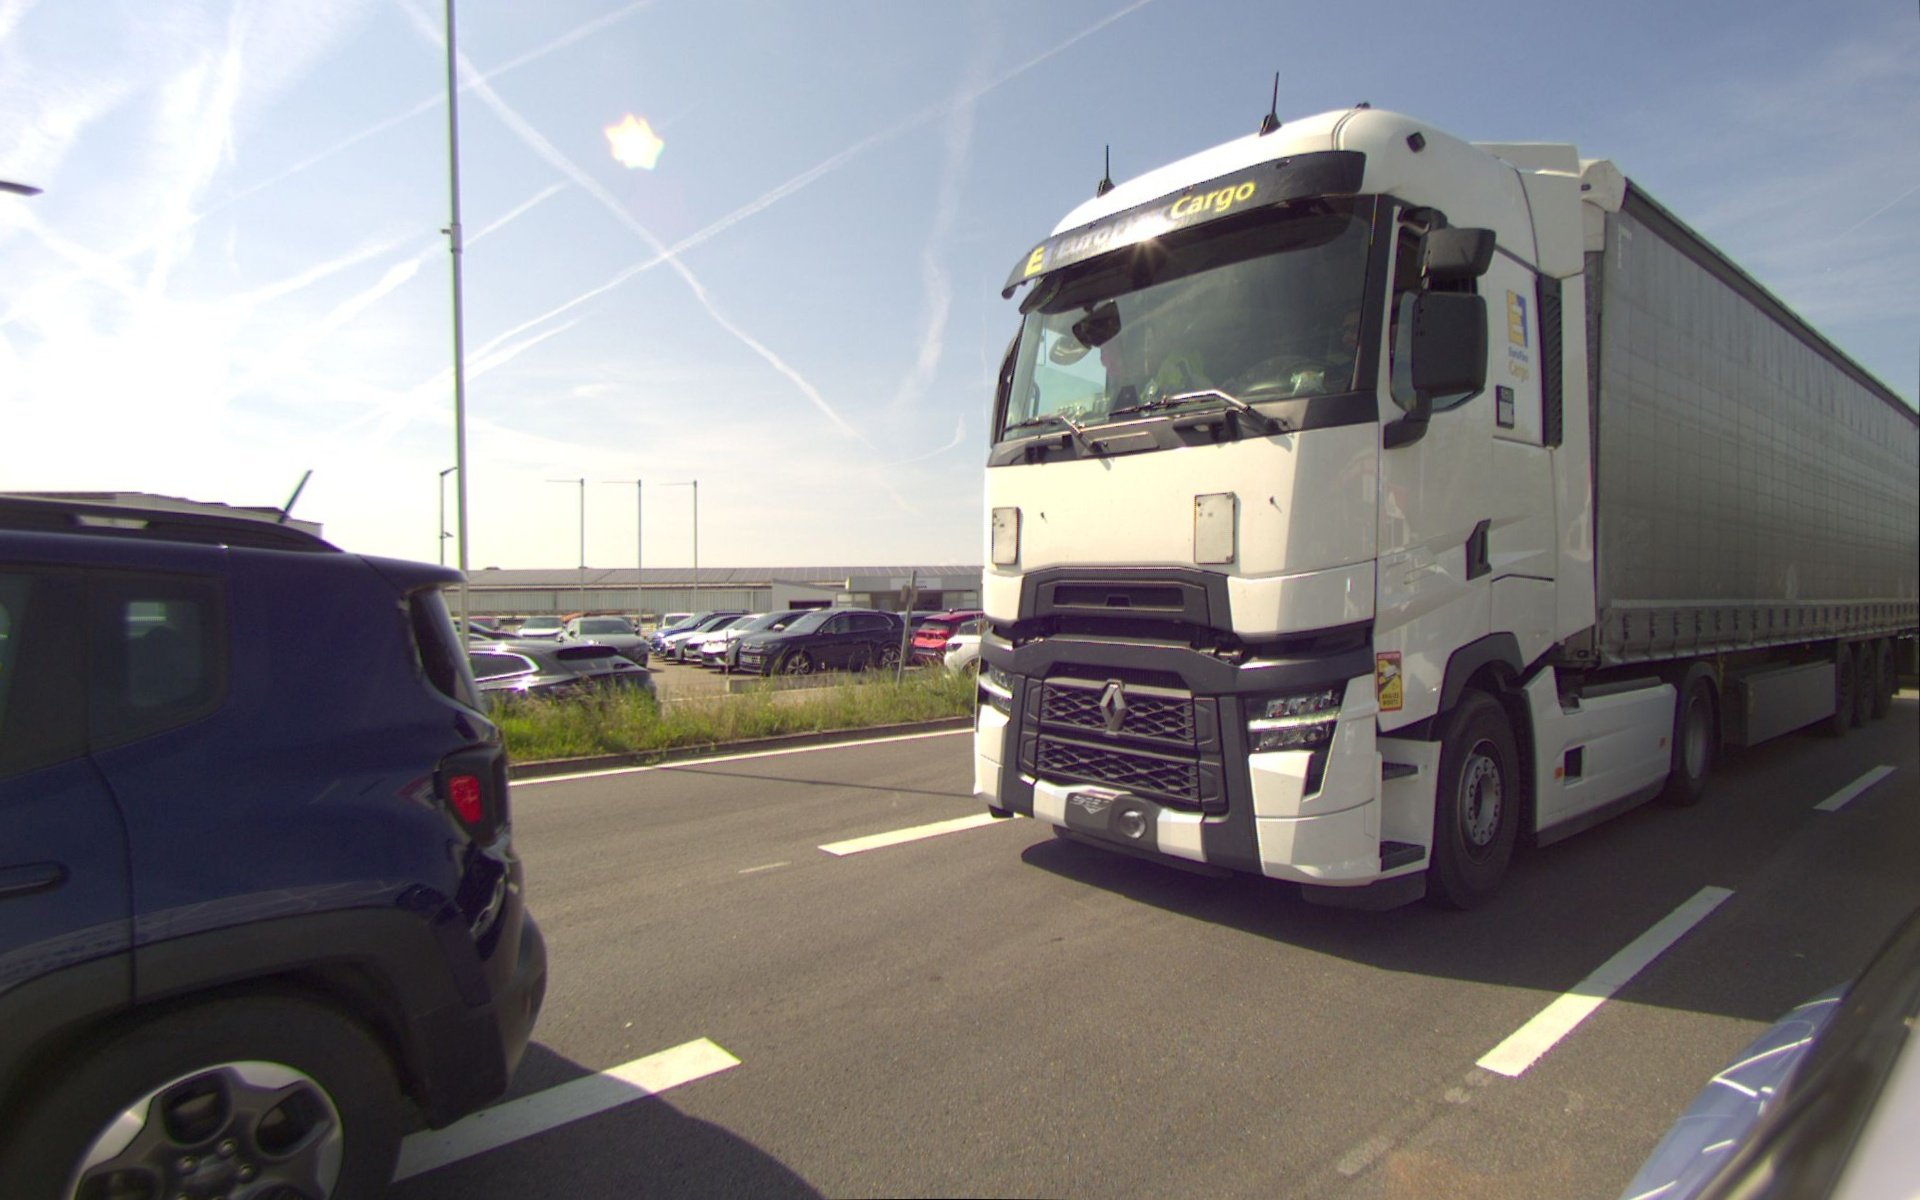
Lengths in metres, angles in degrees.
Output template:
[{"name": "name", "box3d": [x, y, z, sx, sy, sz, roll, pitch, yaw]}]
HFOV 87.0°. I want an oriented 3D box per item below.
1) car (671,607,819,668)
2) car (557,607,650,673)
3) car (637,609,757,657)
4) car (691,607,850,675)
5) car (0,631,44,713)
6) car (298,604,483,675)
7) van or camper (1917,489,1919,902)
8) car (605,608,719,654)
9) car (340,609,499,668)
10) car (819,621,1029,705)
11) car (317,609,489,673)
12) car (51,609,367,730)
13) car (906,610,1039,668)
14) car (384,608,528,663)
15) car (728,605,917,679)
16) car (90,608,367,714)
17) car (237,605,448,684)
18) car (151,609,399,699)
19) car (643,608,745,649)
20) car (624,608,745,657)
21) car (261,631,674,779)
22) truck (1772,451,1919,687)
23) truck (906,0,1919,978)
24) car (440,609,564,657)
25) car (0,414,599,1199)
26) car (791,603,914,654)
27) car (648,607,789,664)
[{"name": "car", "box3d": [-6.221, 1.027, 29.489, 3.896, 1.638, 1.708, 0, 0, -37]}, {"name": "car", "box3d": [-9.849, 1.024, 27.797, 1.959, 1.638, 4.006, 0, 0, -26]}, {"name": "car", "box3d": [-8.721, 1.058, 33.675, 3.531, 1.426, 1.562, -1, 2, -39]}, {"name": "car", "box3d": [-5.011, 1.027, 26.945, 3.756, 1.638, 1.857, 0, 0, -37]}, {"name": "car", "box3d": [-20.717, 1.470, 20.143, 3.657, 1.601, 1.602, 0, -1, -42]}, {"name": "car", "box3d": [-15.512, 1.034, 27.822, 4.143, 1.812, 1.987, 0, -1, -20]}, {"name": "van or camper", "box3d": [7.366, 0.478, 5.875, 5.195, 2.039, 1.998, 0, 0, -39]}, {"name": "car", "box3d": [-11.448, 1.149, 39.008, 3.896, 1.638, 1.708, 0, 0, -37]}, {"name": "car", "box3d": [-17.065, 1.178, 32.192, 4.143, 1.777, 1.911, 0, -1, -15]}, {"name": "car", "box3d": [-0.679, 1.127, 19.171, 3.623, 1.420, 1.725, 0, 0, 23]}, {"name": "car", "box3d": [-16.428, 1.165, 30.099, 4.143, 1.777, 1.911, 0, -1, -15]}, {"name": "car", "box3d": [-12.748, 1.076, 17.418, 4.155, 1.812, 1.982, 0, -1, -39]}, {"name": "car", "box3d": [0.384, 1.035, 28.252, 3.531, 1.426, 1.562, -1, 2, -39]}, {"name": "car", "box3d": [-17.231, 1.189, 34.791, 4.143, 1.777, 1.911, 0, -1, -15]}, {"name": "car", "box3d": [-3.348, 0.960, 24.982, 4.202, 1.678, 1.999, 0, 0, -37]}, {"name": "car", "box3d": [-13.999, 1.071, 19.553, 4.155, 1.812, 1.982, 0, -1, -39]}, {"name": "car", "box3d": [-15.134, 1.045, 25.086, 4.143, 1.812, 1.987, 0, -1, -20]}, {"name": "car", "box3d": [-14.876, 1.112, 22.280, 4.143, 1.812, 1.987, 0, -1, -20]}, {"name": "car", "box3d": [-11.428, 1.189, 43.593, 3.896, 1.638, 1.708, 0, 0, -37]}, {"name": "car", "box3d": [-9.924, 1.133, 36.554, 3.896, 1.638, 1.708, 0, 0, -37]}, {"name": "car", "box3d": [-5.637, 1.104, 11.663, 4.288, 1.420, 1.729, 0, 0, 18]}, {"name": "truck", "box3d": [19.653, -0.527, 20.335, 10.939, 3.859, 2.886, 0, 0, -39]}, {"name": "truck", "box3d": [6.896, -0.779, 10.191, 16.410, 4.320, 2.896, 0, 0, -40]}, {"name": "car", "box3d": [-17.867, 1.258, 39.668, 4.143, 1.777, 1.911, 0, -1, -15]}, {"name": "car", "box3d": [-2.916, 0.529, 1.761, 3.930, 1.706, 1.822, 0, 1, -41]}, {"name": "car", "box3d": [-3.654, 0.939, 34.707, 3.894, 1.638, 1.709, 0, 0, -36]}, {"name": "car", "box3d": [-7.413, 1.042, 31.233, 3.896, 1.638, 1.708, 0, 0, -37]}]
